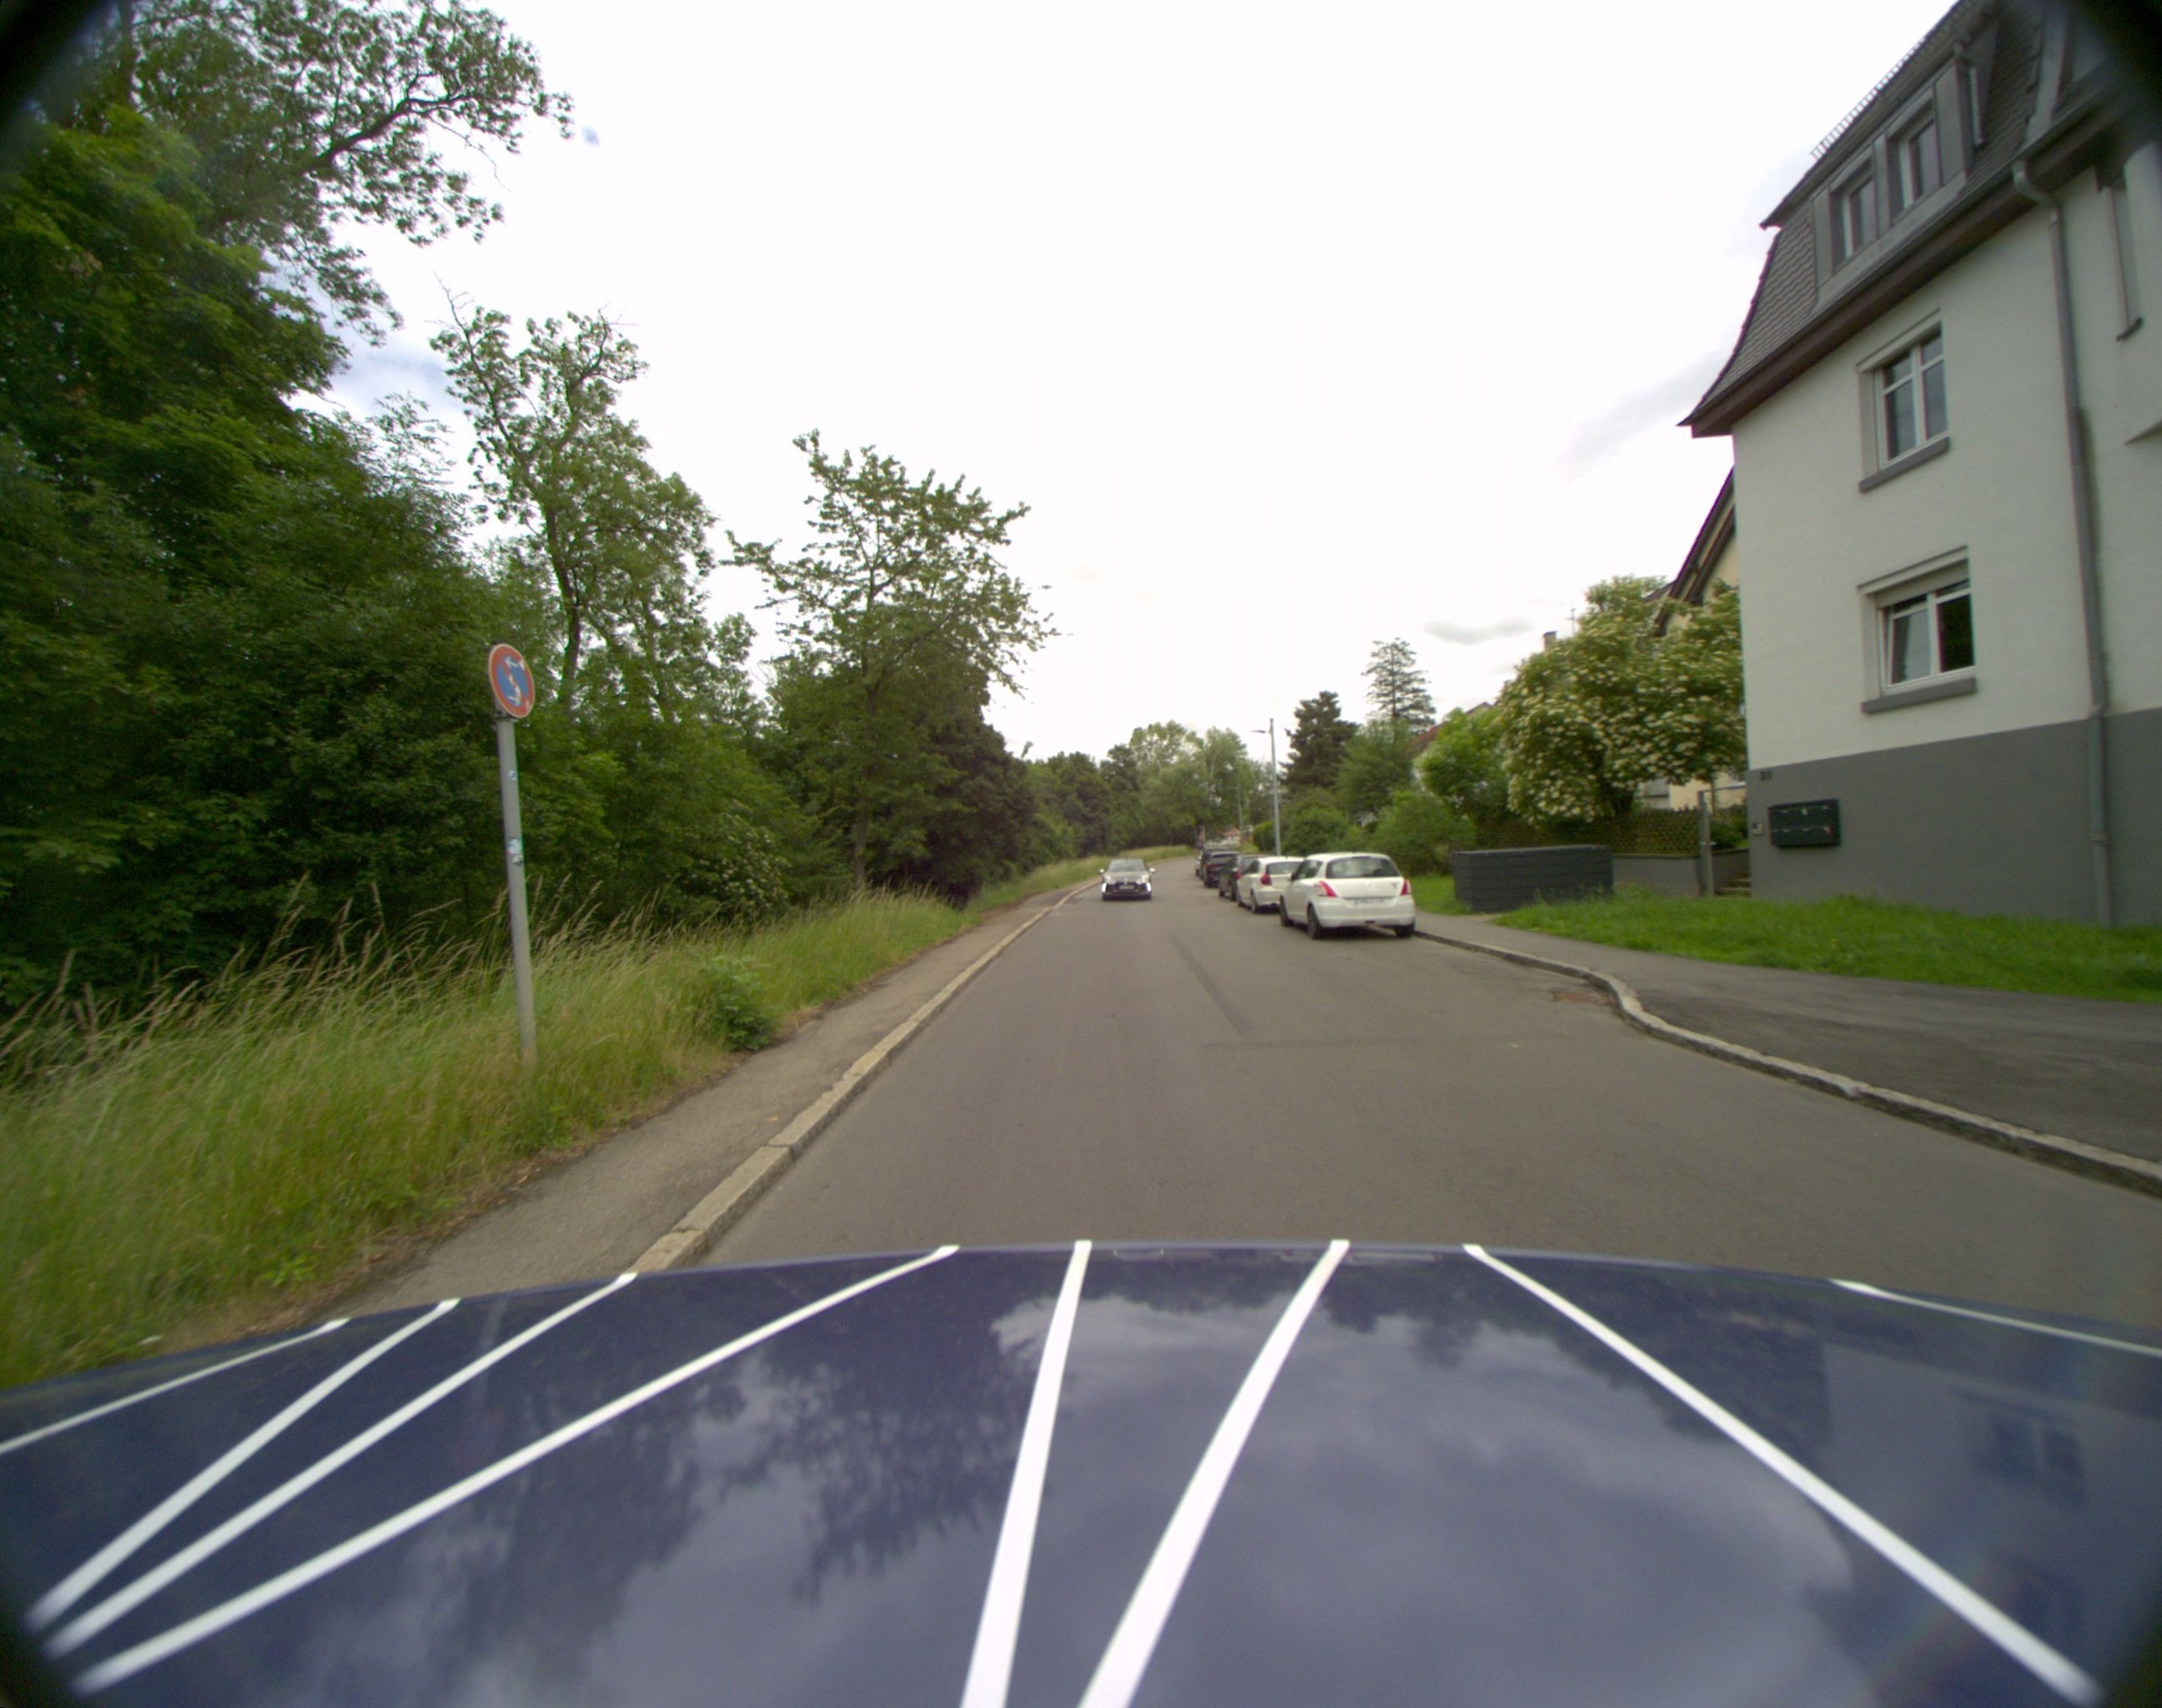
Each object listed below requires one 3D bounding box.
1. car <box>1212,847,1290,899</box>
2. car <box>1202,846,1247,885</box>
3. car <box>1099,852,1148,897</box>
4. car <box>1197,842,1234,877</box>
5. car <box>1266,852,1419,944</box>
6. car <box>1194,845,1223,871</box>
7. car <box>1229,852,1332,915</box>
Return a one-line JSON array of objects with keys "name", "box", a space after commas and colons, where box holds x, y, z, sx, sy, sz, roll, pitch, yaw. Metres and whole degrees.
[{"name": "car", "box": [5.600, 0.568, 25.530, 1.731, 1.564, 4.816, -1, 0, 3]}, {"name": "car", "box": [6.388, 0.475, 34.203, 1.665, 1.573, 4.079, -1, 1, 7]}, {"name": "car", "box": [1.591, 0.675, 27.374, 1.619, 1.460, 4.001, -1, 0, 5]}, {"name": "car", "box": [7.494, 0.250, 42.674, 1.800, 1.790, 4.066, -1, 1, 7]}, {"name": "car", "box": [4.774, 0.720, 14.470, 1.646, 1.461, 4.071, -2, 0, 3]}, {"name": "car", "box": [8.015, 0.212, 47.989, 1.664, 1.497, 4.047, -1, 1, 9]}, {"name": "car", "box": [5.148, 0.689, 20.238, 1.728, 1.382, 4.726, -1, 1, 3]}]
